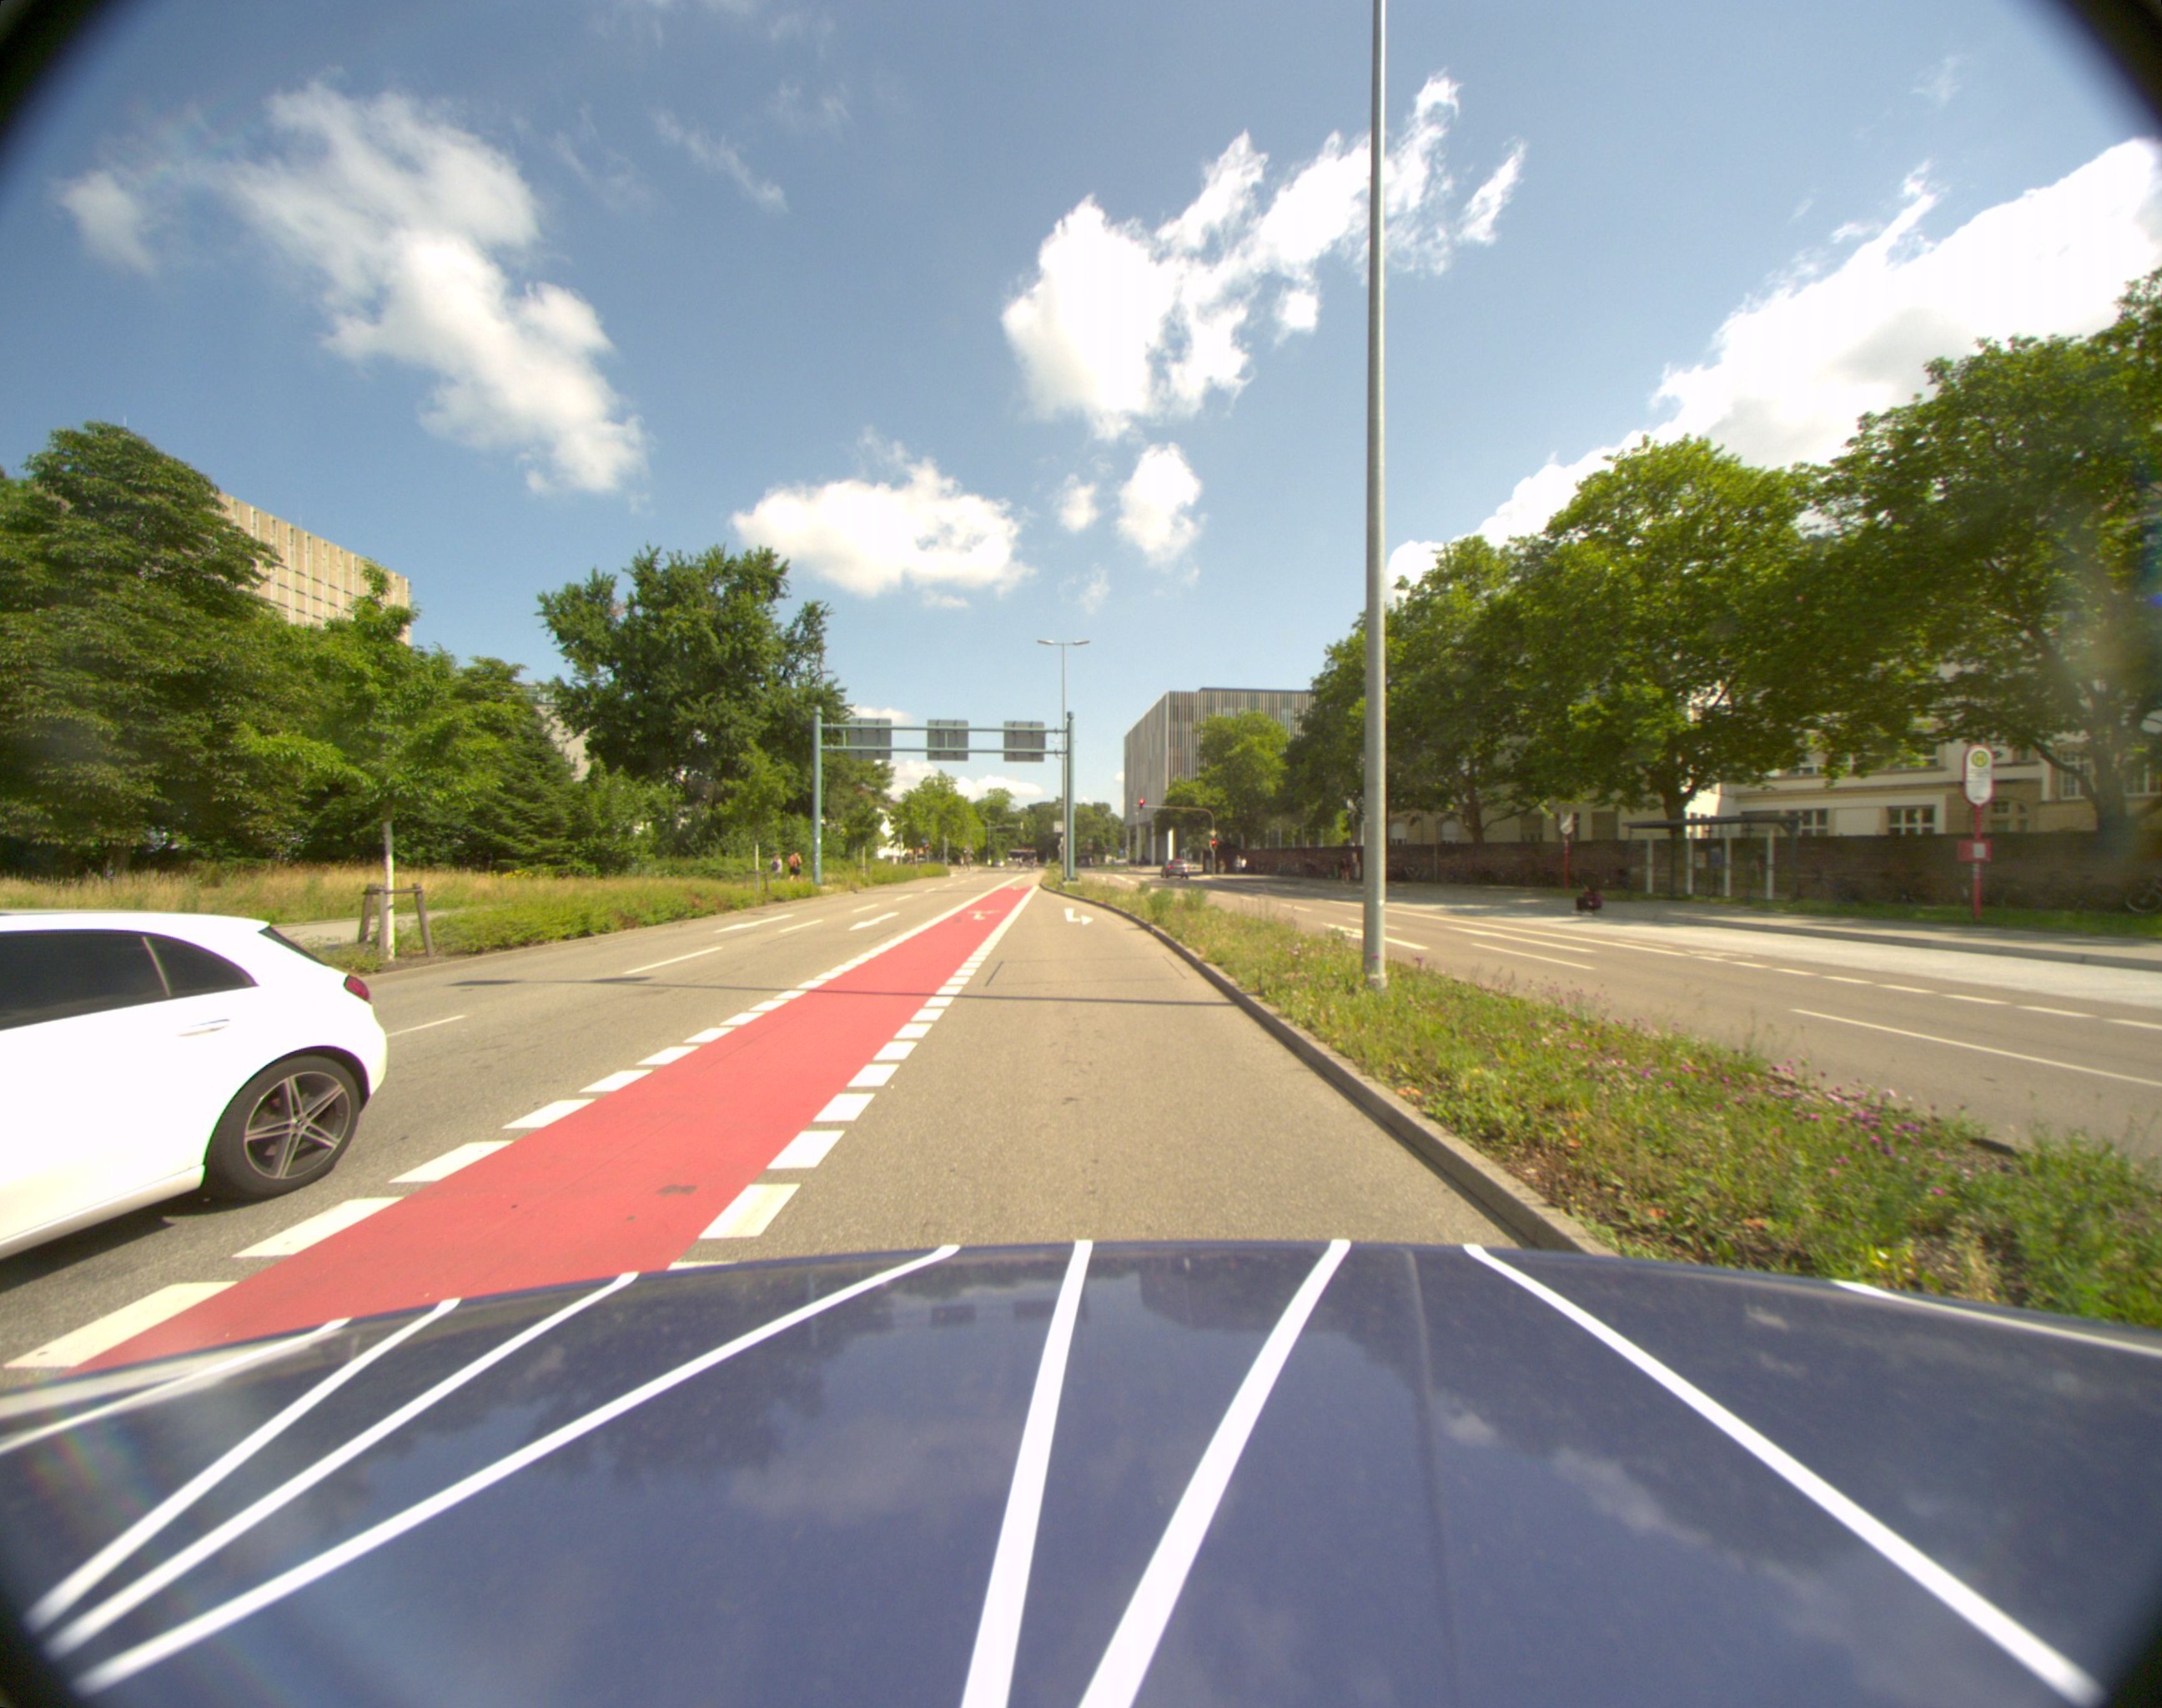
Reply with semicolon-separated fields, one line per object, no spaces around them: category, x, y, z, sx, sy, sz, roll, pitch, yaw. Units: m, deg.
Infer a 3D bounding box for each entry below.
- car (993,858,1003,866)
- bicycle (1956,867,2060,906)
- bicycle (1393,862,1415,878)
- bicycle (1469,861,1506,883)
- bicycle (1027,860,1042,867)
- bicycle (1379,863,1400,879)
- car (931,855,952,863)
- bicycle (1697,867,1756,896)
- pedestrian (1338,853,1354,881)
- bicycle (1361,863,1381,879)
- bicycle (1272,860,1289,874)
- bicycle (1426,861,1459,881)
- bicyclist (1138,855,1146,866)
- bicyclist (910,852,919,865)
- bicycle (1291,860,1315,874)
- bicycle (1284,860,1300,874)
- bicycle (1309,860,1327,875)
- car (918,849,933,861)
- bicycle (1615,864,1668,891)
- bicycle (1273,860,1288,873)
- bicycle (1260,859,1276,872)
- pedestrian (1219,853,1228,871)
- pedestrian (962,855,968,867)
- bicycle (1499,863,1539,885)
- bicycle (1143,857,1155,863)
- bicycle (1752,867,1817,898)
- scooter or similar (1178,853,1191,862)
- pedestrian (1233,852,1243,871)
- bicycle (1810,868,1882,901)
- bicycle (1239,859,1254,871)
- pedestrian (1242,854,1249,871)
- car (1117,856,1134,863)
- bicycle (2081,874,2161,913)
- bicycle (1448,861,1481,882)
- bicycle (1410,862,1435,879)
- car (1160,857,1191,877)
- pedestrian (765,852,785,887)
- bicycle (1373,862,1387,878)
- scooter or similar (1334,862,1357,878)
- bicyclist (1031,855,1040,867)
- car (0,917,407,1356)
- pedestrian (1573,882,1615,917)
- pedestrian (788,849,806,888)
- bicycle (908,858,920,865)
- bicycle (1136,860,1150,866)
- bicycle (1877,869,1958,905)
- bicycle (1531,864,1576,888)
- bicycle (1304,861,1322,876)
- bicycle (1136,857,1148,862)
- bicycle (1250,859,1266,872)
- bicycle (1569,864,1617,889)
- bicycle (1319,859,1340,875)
car;-15.378;1.487;140.973;1.709;1.321;3.997;2;0;-7
bicycle;27.581;0.949;22.645;0.584;1.067;1.867;0;0;-19
bicycle;19.381;0.962;45.615;0.368;0.949;1.400;0;0;-17
bicycle;21.018;0.912;39.333;0.584;1.067;1.753;0;0;-17
bicycle;-5.461;1.130;89.561;1.757;0.771;0.444;-1;0;-15
bicycle;19.083;1.052;47.041;0.368;0.949;1.400;0;0;-17
car;-27.388;0.997;148.758;4.001;1.416;1.755;0;0;-13
bicycle;24.626;1.031;29.028;0.585;1.067;1.628;0;0;-23
pedestrian;15.396;0.775;44.147;0.658;1.600;0.744;-1;1;-1
bicycle;18.579;1.088;48.680;0.368;0.949;1.400;0;0;-17
bicycle;15.708;1.010;59.895;0.594;1.042;1.879;0;0;-11
bicycle;20.065;0.949;42.212;0.584;1.067;1.753;0;0;-17
bicyclist;8.156;0.821;101.353;0.944;1.456;0.633;0;0;30
bicyclist;-20.240;0.536;92.239;0.916;1.498;0.614;0;1;38
bicycle;16.717;0.980;57.228;0.594;1.042;1.877;0;0;-27
bicycle;16.418;0.987;59.155;0.371;1.042;1.879;0;0;-11
bicycle;17.259;0.968;55.351;0.395;1.042;1.879;0;0;-11
car;-25.735;0.155;125.859;2.000;2.002;4.899;0;0;-8
bicycle;23.532;0.977;31.923;0.585;1.067;1.752;0;0;-23
bicycle;16.079;1.003;61.317;0.371;1.042;1.879;0;0;-11
bicycle;15.613;0.965;63.334;0.566;1.042;1.879;0;0;-11
pedestrian;13.106;0.746;69.897;0.562;1.641;0.726;0;0;-7
pedestrian;-15.575;0.934;102.038;0.741;1.640;0.639;0;0;6
bicycle;21.560;0.968;37.435;0.584;1.067;1.753;0;0;-18
bicycle;12.684;1.054;142.094;2.218;1.090;0.722;0;0;-10
bicycle;25.359;1.016;27.421;0.585;1.067;1.628;0;0;-23
scooter or similar;12.884;0.445;94.497;1.505;1.150;0.502;0;0;-29
pedestrian;13.691;0.688;66.212;0.643;1.641;0.731;0;0;-7
bicycle;26.039;1.031;25.878;0.585;1.067;1.628;0;0;-23
bicycle;14.757;0.977;67.924;0.632;1.042;1.879;0;0;-11
pedestrian;14.391;0.723;66.476;0.477;1.531;0.616;0;0;-7
car;11.119;1.337;188.693;3.998;1.676;1.646;0;0;-3
bicycle;28.597;1.063;20.456;0.473;1.005;1.960;0;0;-22
bicycle;20.515;0.926;40.655;0.632;1.070;1.650;0;0;-17
bicycle;19.775;0.945;44.035;0.371;0.949;1.624;0;0;-17
car;7.252;0.960;58.599;1.705;1.436;4.145;1;0;-2
pedestrian;-14.027;0.703;34.865;0.624;1.571;0.708;0;0;-1
bicycle;18.444;0.992;46.879;0.367;0.949;1.626;0;0;7
scooter or similar;17.927;1.068;51.522;0.582;1.042;1.879;0;0;-11
bicyclist;-5.352;0.838;89.569;0.932;1.341;0.444;-1;1;-15
car;-4.752;1.057;2.084;1.909;1.415;4.384;0;0;0
pedestrian;14.565;1.287;21.586;0.696;0.957;0.743;-1;0;-3
pedestrian;-13.101;0.652;35.064;0.568;1.791;0.638;0;0;-1
bicycle;-20.243;0.865;92.243;1.510;0.828;0.621;0;0;38
bicycle;8.267;1.201;101.329;1.771;0.887;0.639;0;0;30
bicycle;26.732;1.044;24.306;0.585;1.067;1.628;0;0;-23
bicycle;22.130;1.005;35.621;0.585;1.067;1.752;0;0;-23
bicycle;16.868;1.028;55.275;0.374;1.042;1.879;0;0;-11
bicycle;12.362;1.176;154.157;2.218;1.090;0.722;0;0;-10
bicycle;15.195;0.989;65.433;0.632;1.042;1.879;0;0;-11
bicycle;22.760;0.972;33.819;0.585;1.067;1.752;0;0;-23
bicycle;17.485;0.908;53.453;0.582;1.042;1.879;0;0;-11
